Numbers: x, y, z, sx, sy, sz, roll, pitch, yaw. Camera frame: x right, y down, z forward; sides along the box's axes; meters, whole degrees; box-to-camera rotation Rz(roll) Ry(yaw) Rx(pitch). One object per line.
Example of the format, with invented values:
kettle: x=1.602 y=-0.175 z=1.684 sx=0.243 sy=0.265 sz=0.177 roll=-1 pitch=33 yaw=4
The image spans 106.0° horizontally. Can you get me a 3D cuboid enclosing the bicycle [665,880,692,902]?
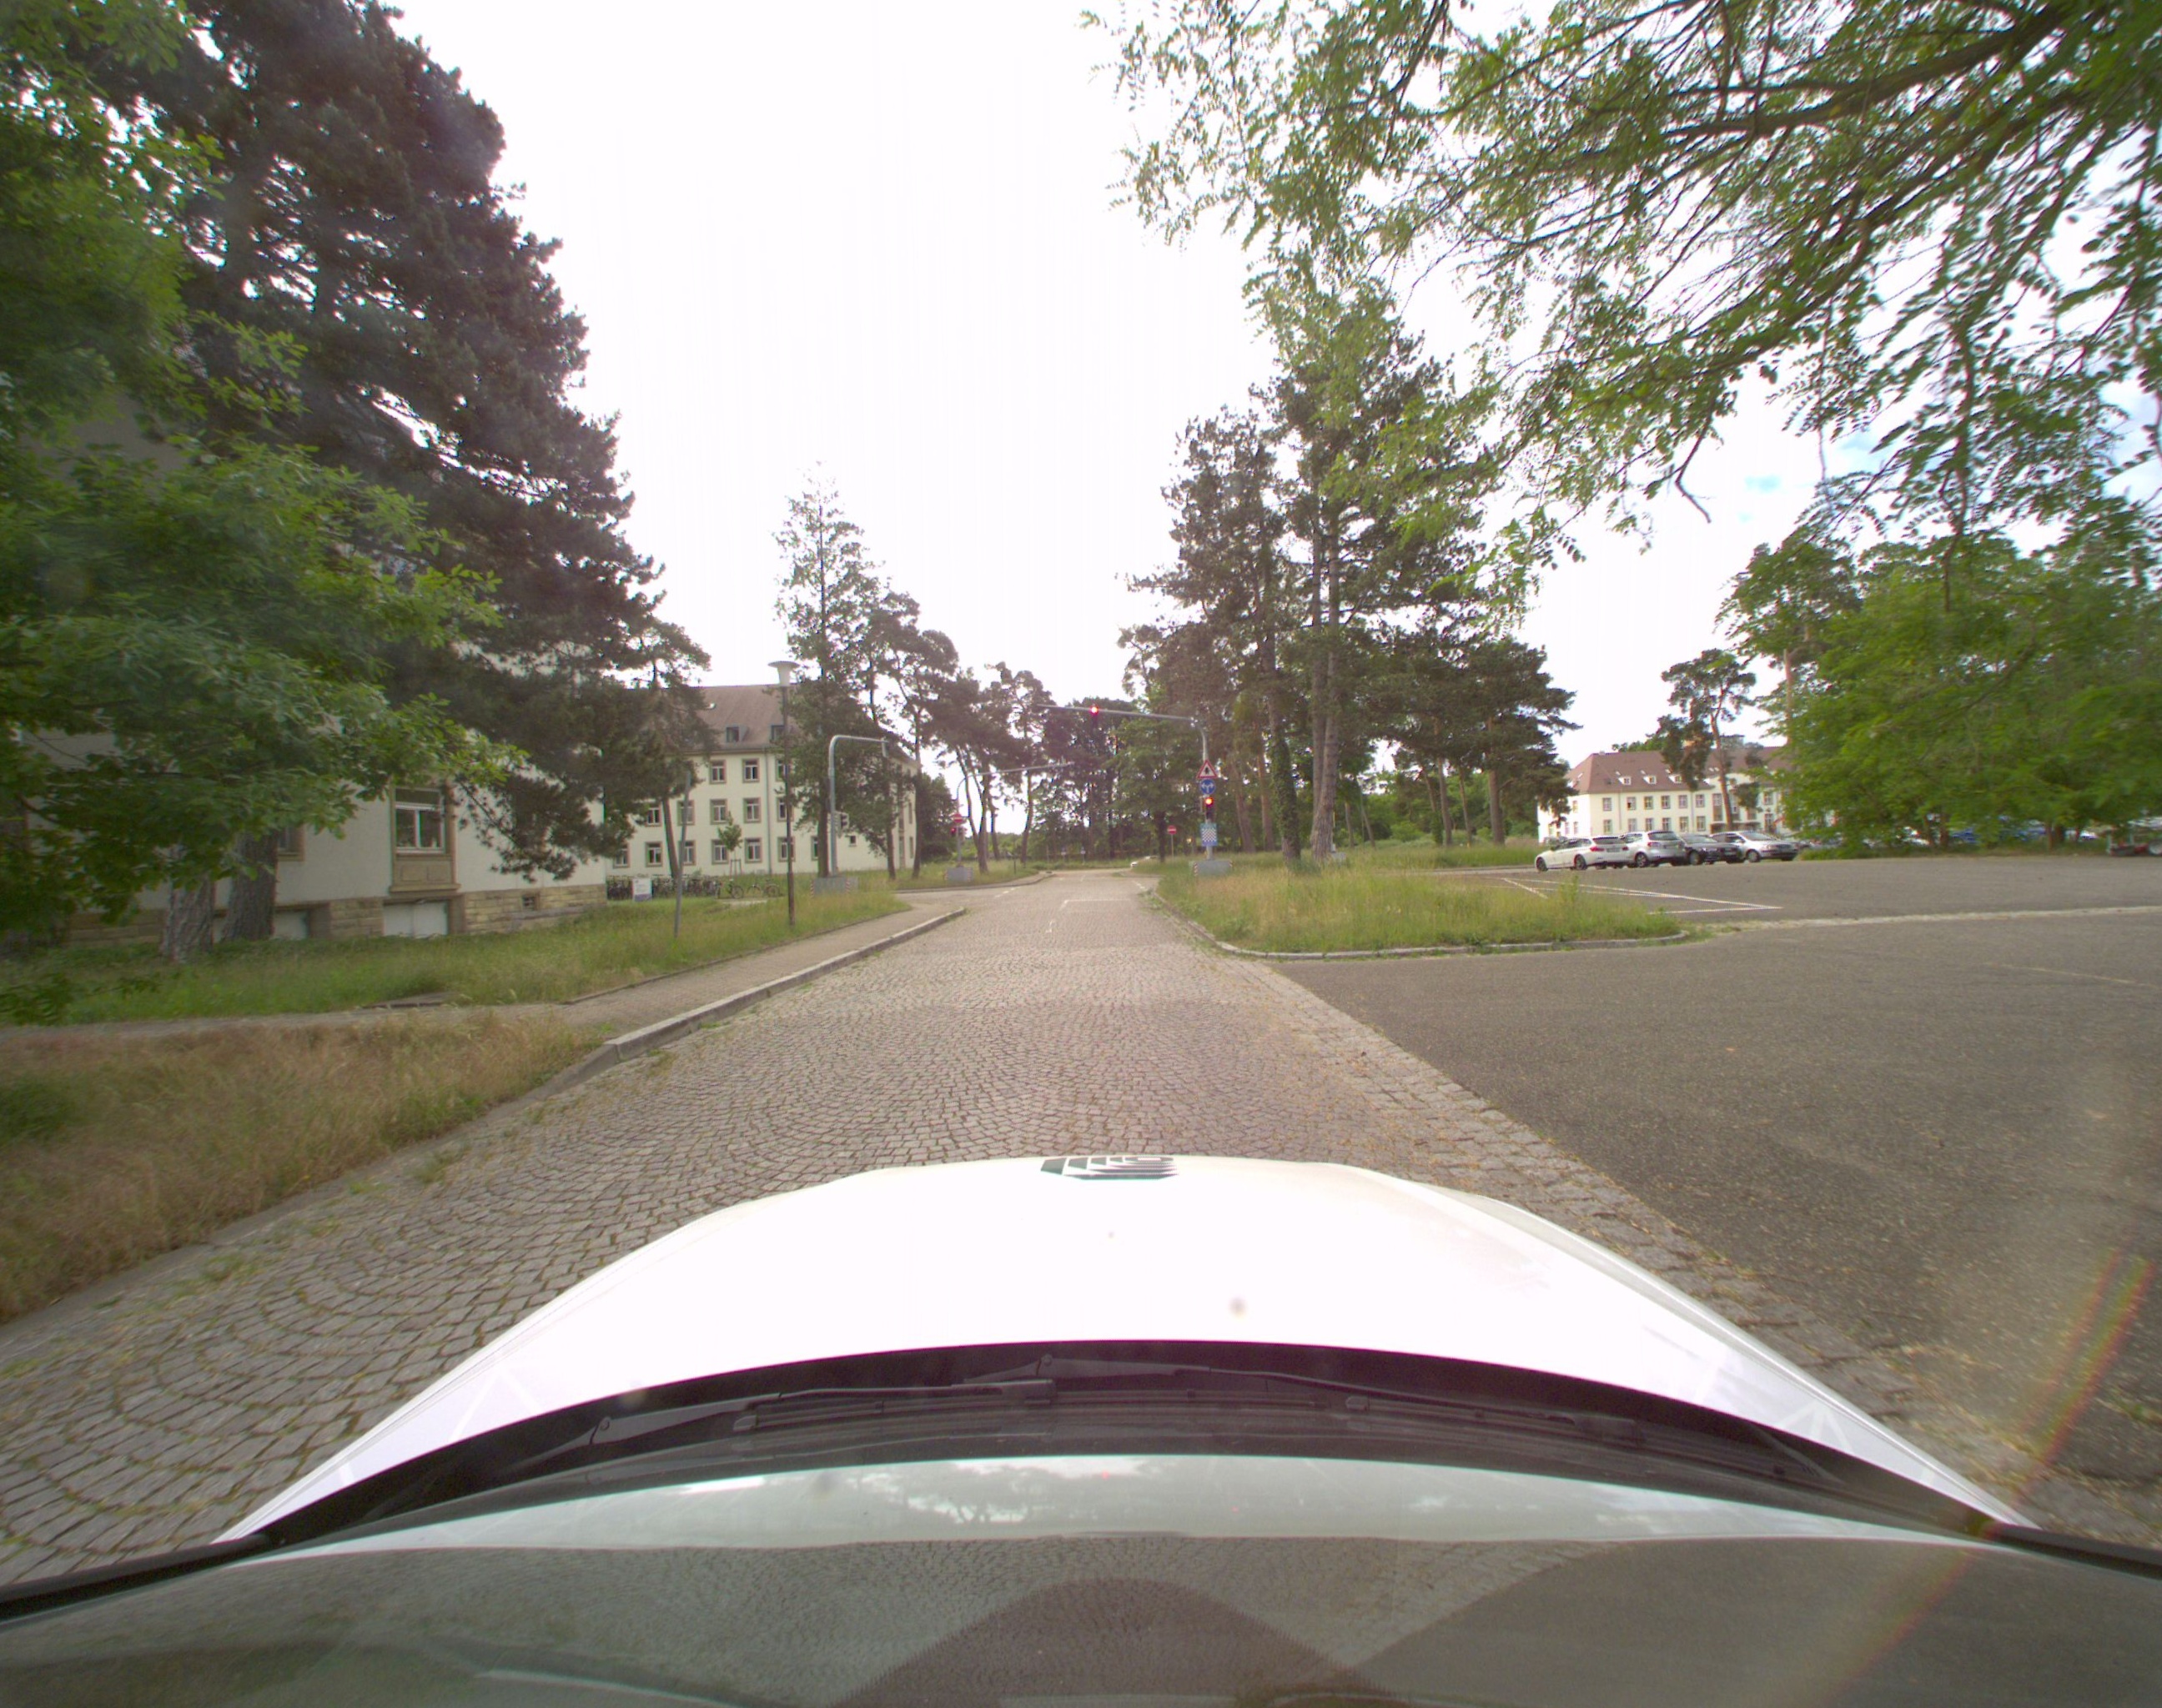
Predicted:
bicycle: x=-21.198 y=1.936 z=42.918 sx=0.512 sy=1.079 sz=1.586 roll=-3 pitch=-1 yaw=1

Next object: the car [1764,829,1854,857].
car: x=41.728 y=-0.606 z=46.818 sx=1.725 sy=1.472 sz=4.251 roll=-2 pitch=0 yaw=6

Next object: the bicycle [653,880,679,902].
bicycle: x=-21.828 y=1.955 z=42.870 sx=0.512 sy=1.079 sz=1.586 roll=-3 pitch=-1 yaw=1

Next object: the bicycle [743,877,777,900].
bicycle: x=-16.424 y=1.759 z=41.694 sx=1.460 sy=1.065 sz=0.516 roll=-3 pitch=-1 yaw=-2

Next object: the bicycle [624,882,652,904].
bicycle: x=-23.286 y=2.028 z=42.834 sx=0.512 sy=1.079 sz=1.586 roll=-3 pitch=-1 yaw=1

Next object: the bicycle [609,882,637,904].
bicycle: x=-24.082 y=2.055 z=42.834 sx=0.512 sy=1.079 sz=1.586 roll=-3 pitch=-1 yaw=1

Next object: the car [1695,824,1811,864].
car: x=29.751 y=-0.390 z=36.233 sx=1.694 sy=1.485 sz=4.245 roll=-3 pitch=-3 yaw=2

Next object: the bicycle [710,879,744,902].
bicycle: x=-18.059 y=1.853 z=41.526 sx=1.460 sy=1.079 sz=0.516 roll=-3 pitch=-1 yaw=-2

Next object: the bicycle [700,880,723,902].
bicycle: x=-19.456 y=1.914 z=42.909 sx=0.513 sy=1.079 sz=1.584 roll=-3 pitch=-1 yaw=-2

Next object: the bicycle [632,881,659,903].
bicycle: x=-22.902 y=1.994 z=42.842 sx=0.512 sy=1.079 sz=1.586 roll=-3 pitch=-1 yaw=1

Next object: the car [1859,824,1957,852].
car: x=47.386 y=-0.900 z=46.795 sx=1.608 sy=1.502 sz=4.251 roll=-2 pitch=0 yaw=7

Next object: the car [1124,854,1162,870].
car: x=7.094 y=0.909 z=92.848 sx=4.243 sy=1.438 sz=1.757 roll=-5 pitch=0 yaw=-44

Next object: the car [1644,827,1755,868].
car: x=27.012 y=-0.226 z=35.750 sx=1.694 sy=1.485 sz=4.245 roll=-3 pitch=-3 yaw=2

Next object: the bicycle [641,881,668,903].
bicycle: x=-22.450 y=1.985 z=42.849 sx=0.512 sy=1.079 sz=1.586 roll=-3 pitch=-1 yaw=1

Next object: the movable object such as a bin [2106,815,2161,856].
movable object such as a bin: x=30.689 y=-0.518 z=22.848 sx=0.959 sy=1.134 sz=2.207 roll=-1 pitch=-1 yaw=-8

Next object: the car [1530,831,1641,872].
car: x=21.747 y=-0.050 z=35.348 sx=1.843 sy=1.487 sz=4.605 roll=-1 pitch=-3 yaw=-2

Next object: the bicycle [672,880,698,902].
bicycle: x=-20.837 y=1.932 z=42.913 sx=0.512 sy=1.079 sz=1.586 roll=-3 pitch=-1 yaw=1

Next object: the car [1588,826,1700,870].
car: x=24.382 y=-0.212 z=35.458 sx=1.777 sy=1.605 sz=4.239 roll=-2 pitch=-3 yaw=-2

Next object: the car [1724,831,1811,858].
car: x=39.108 y=-0.512 z=46.528 sx=1.725 sy=1.390 sz=4.251 roll=-2 pitch=0 yaw=6

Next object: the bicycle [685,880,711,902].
bicycle: x=-20.134 y=1.922 z=42.821 sx=0.512 sy=1.079 sz=1.587 roll=-3 pitch=-1 yaw=4
